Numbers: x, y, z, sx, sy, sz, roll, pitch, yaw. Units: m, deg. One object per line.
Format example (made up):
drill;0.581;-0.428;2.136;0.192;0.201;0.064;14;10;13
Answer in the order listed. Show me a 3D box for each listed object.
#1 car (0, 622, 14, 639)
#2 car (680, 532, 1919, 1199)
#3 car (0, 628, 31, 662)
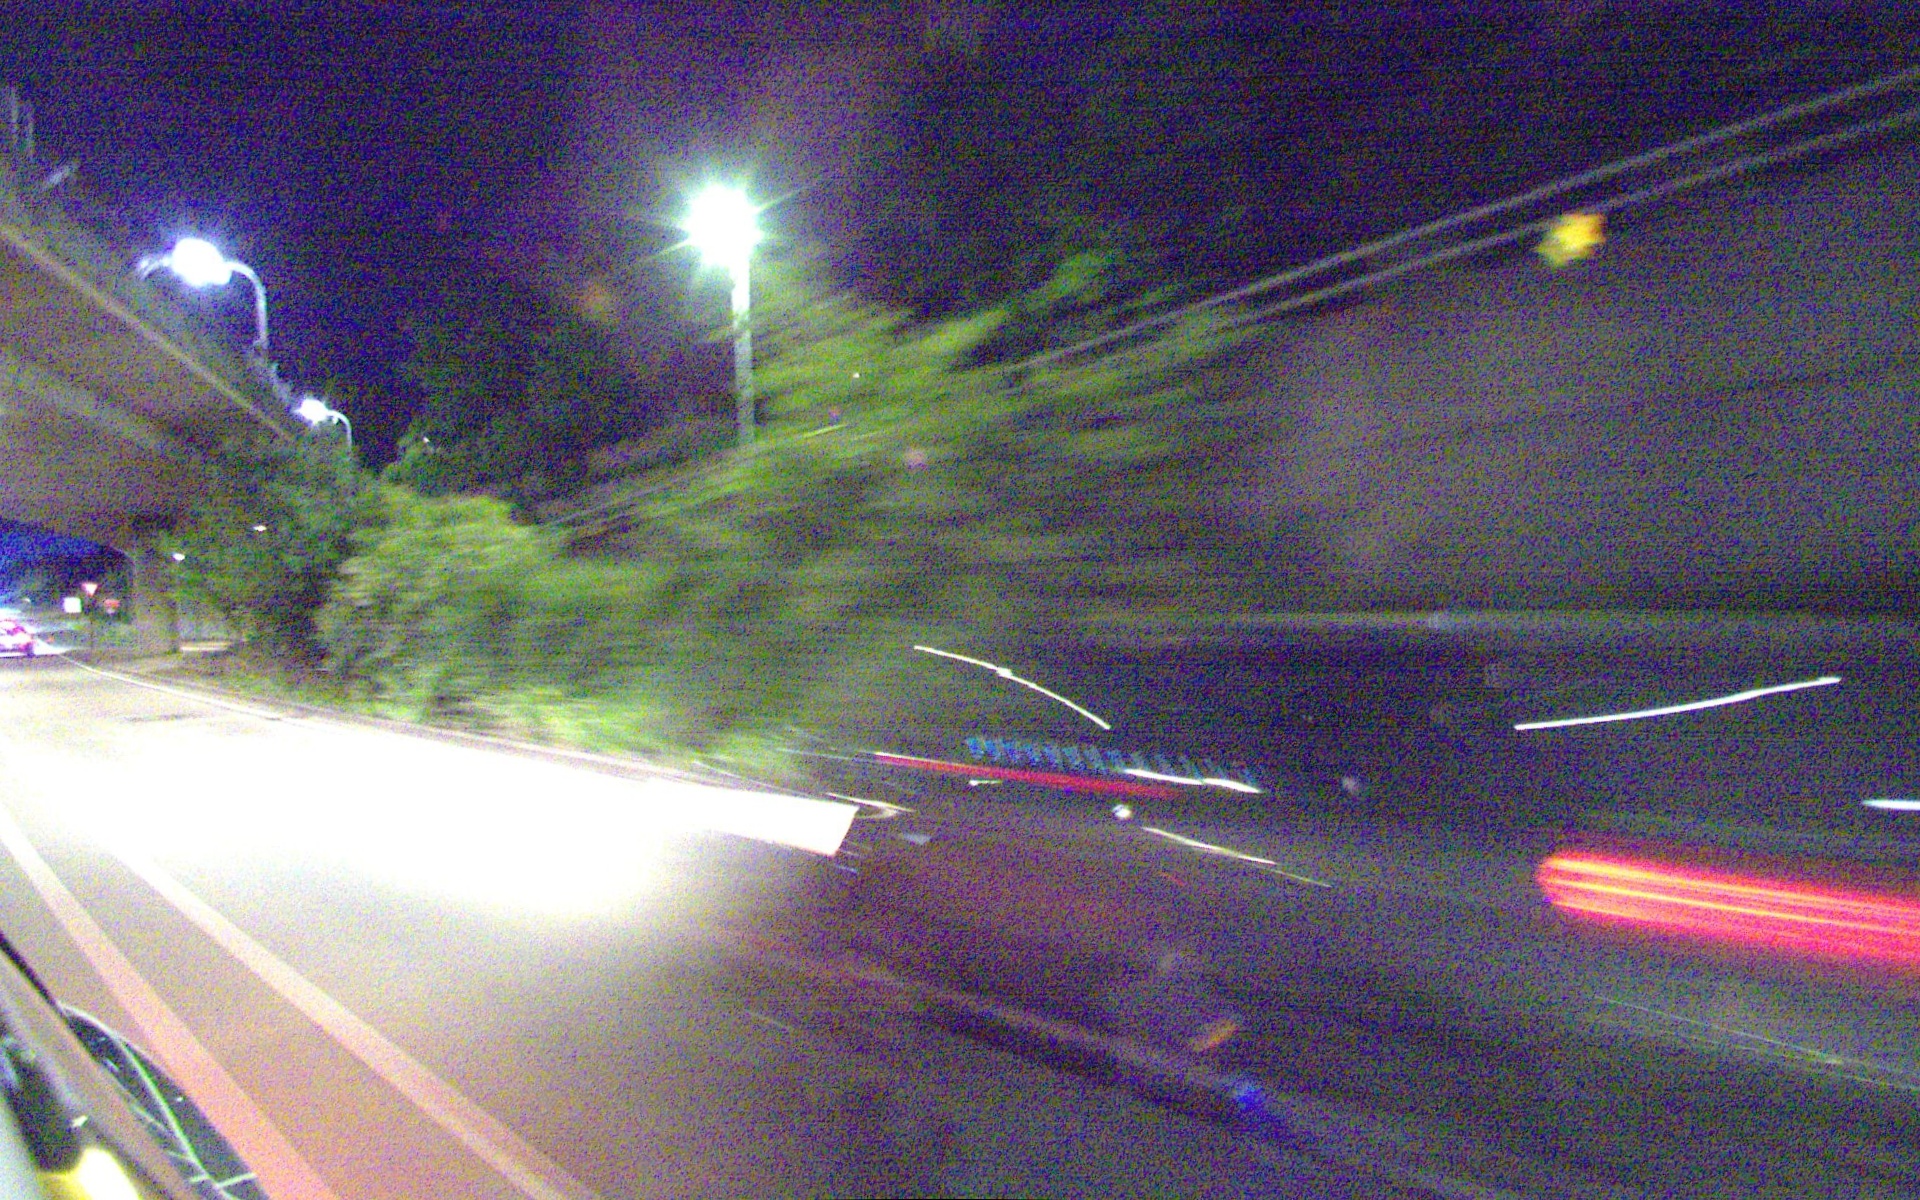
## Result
car;-91.316;2.905;96.112;1.858;1.566;4.225;-1;0;-39
car;1.042;0.676;3.255;3.997;1.521;1.840;-1;-1;40
car;-44.620;2.083;47.082;4.173;1.458;1.768;0;1;44
